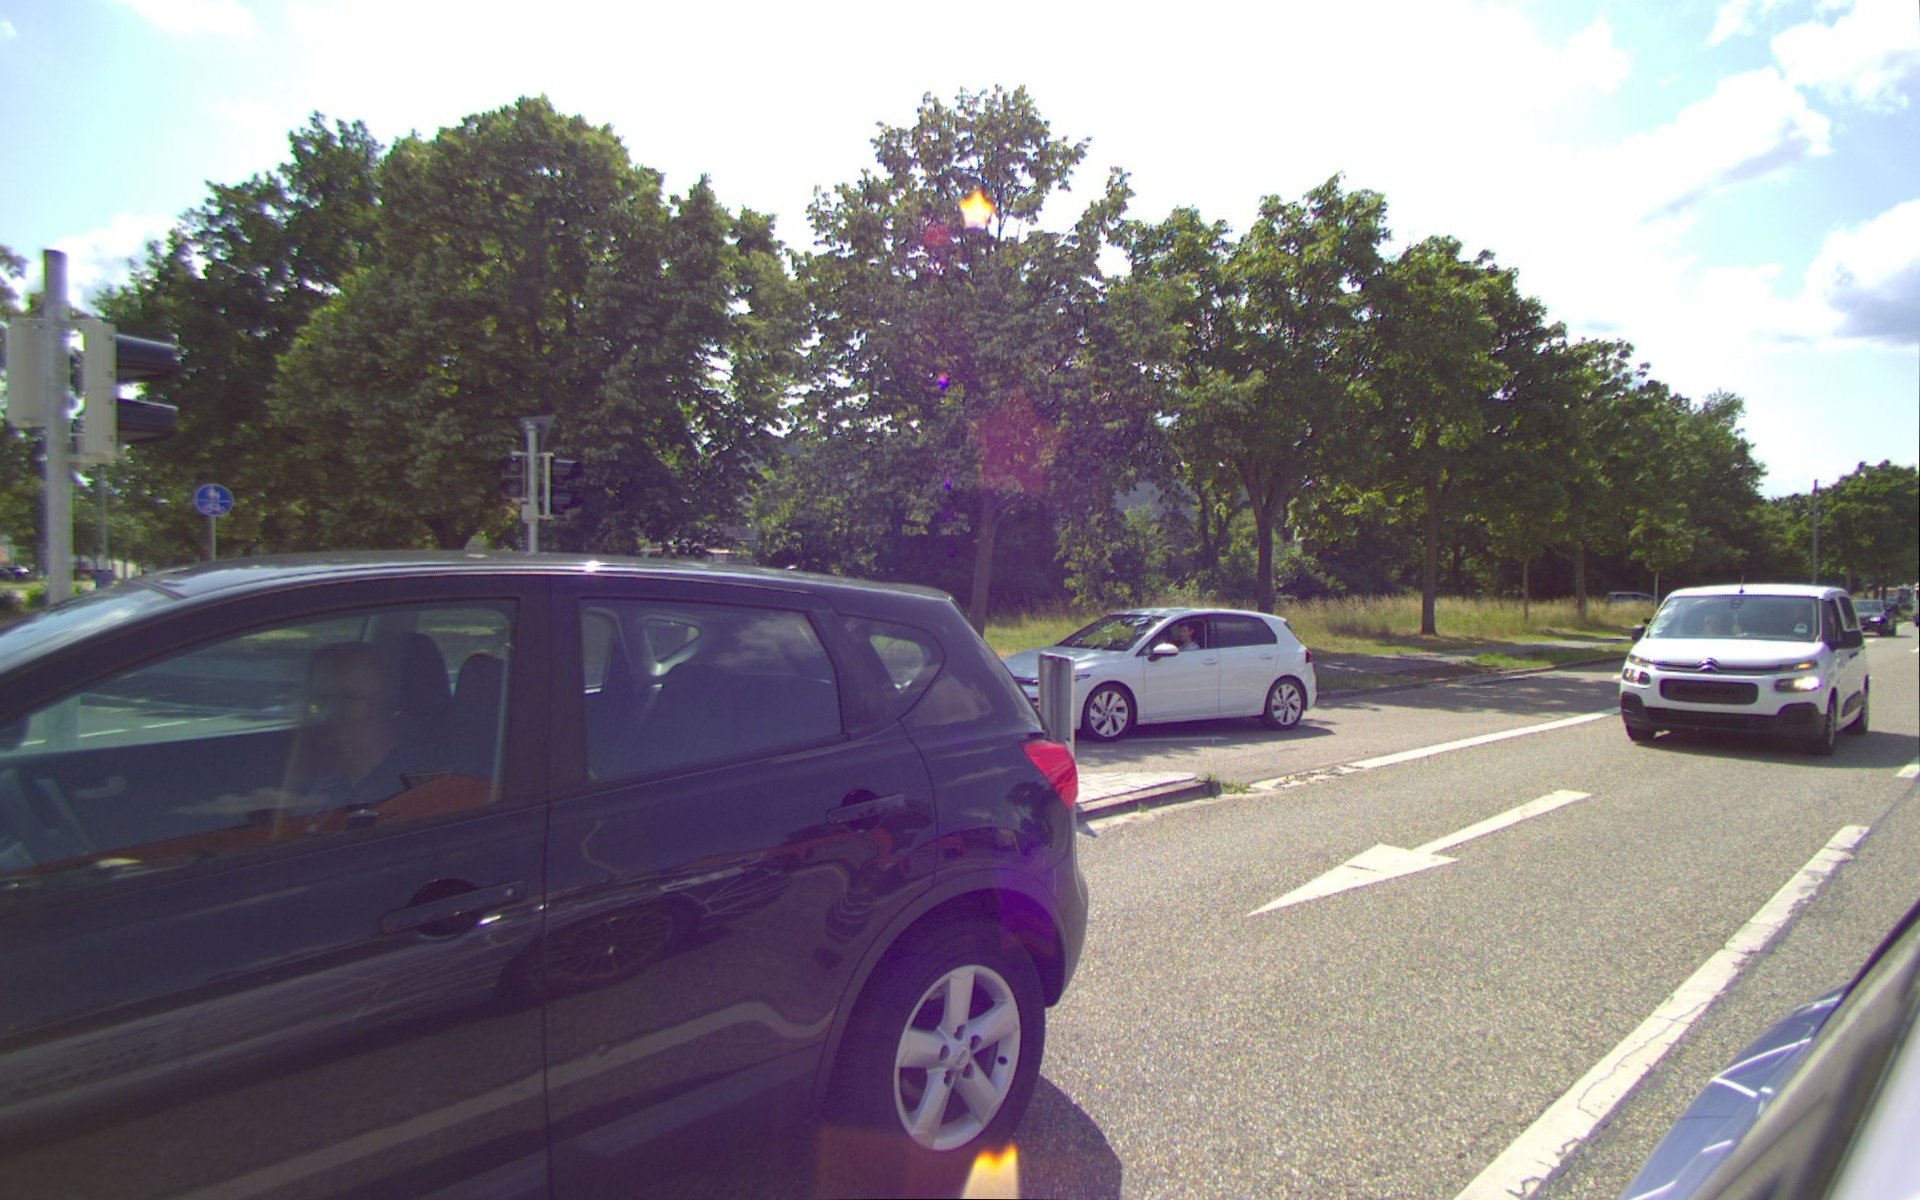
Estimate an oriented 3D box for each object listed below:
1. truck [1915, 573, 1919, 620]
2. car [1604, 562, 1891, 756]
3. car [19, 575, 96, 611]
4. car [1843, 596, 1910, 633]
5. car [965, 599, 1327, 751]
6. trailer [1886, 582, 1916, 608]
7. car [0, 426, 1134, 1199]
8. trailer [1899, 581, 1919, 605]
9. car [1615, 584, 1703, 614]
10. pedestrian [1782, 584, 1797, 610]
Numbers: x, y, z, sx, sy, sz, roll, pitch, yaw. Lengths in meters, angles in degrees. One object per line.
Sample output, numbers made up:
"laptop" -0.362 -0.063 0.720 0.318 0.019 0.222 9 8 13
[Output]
"truck" 58.527 -0.327 59.416 7.224 2.697 2.845 -2 0 -41
"car" 9.284 0.564 11.767 4.637 1.808 1.932 0 -1 -44
"car" -32.342 -0.238 36.250 1.884 1.193 3.768 -1 0 -44
"car" 41.434 0.634 45.718 3.930 1.509 1.757 -2 0 -41
"car" 2.229 0.756 11.911 4.010 1.505 1.740 0 0 -29
"trailer" 87.995 -0.502 94.602 1.953 2.380 4.533 2 3 44
"car" -1.568 0.569 2.231 3.933 1.572 1.801 -2 0 -43
"trailer" 102.658 -0.794 108.904 4.704 2.393 1.996 -1 6 -45
"car" 42.428 -0.091 61.493 4.161 1.511 1.757 5 2 42
"pedestrian" 59.502 -0.214 72.611 0.728 1.816 0.717 -1 -1 -45
